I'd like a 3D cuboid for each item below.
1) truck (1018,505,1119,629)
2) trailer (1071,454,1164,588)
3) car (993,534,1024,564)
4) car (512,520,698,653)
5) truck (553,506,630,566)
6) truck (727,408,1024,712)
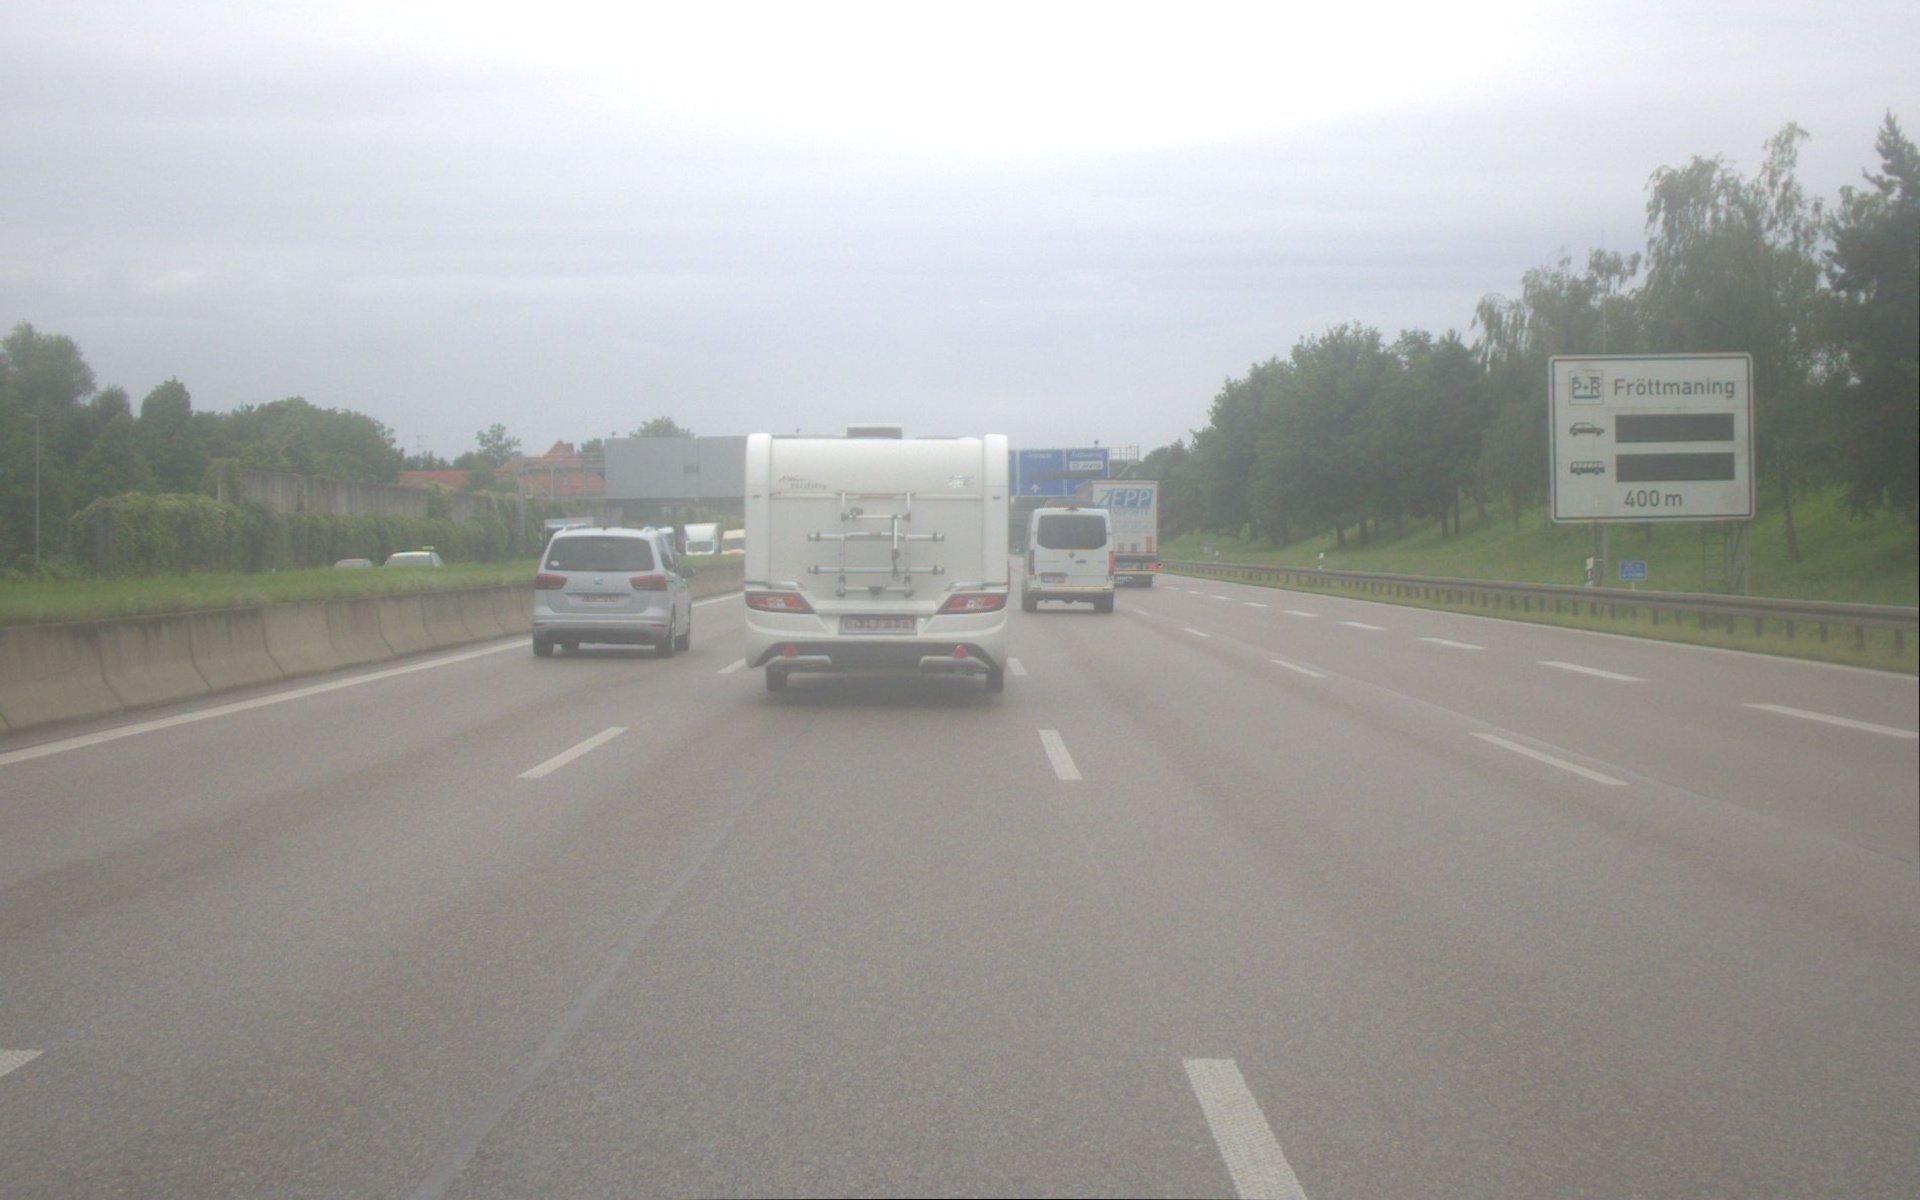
[{"bbox_3d":[2.480,-0.766,79.606,2.053,2.760,5.549,1,1,-1],"label":"truck"},{"bbox_3d":[5.994,-2.966,132.847,3.100,4.905,11.790,1,1,1],"label":"trailer"},{"bbox_3d":[3.266,-3.418,231.303,1.993,2.007,4.000,1,1,1],"label":"car"},{"bbox_3d":[-4.699,-0.210,46.036,2.128,1.700,4.113,0,1,-1],"label":"car"},{"bbox_3d":[-20.317,-3.499,190.171,2.884,3.210,11.358,1,1,1],"label":"truck"},{"bbox_3d":[-0.803,-0.389,33.900,2.661,2.733,5.078,1,1,-1],"label":"truck"}]
